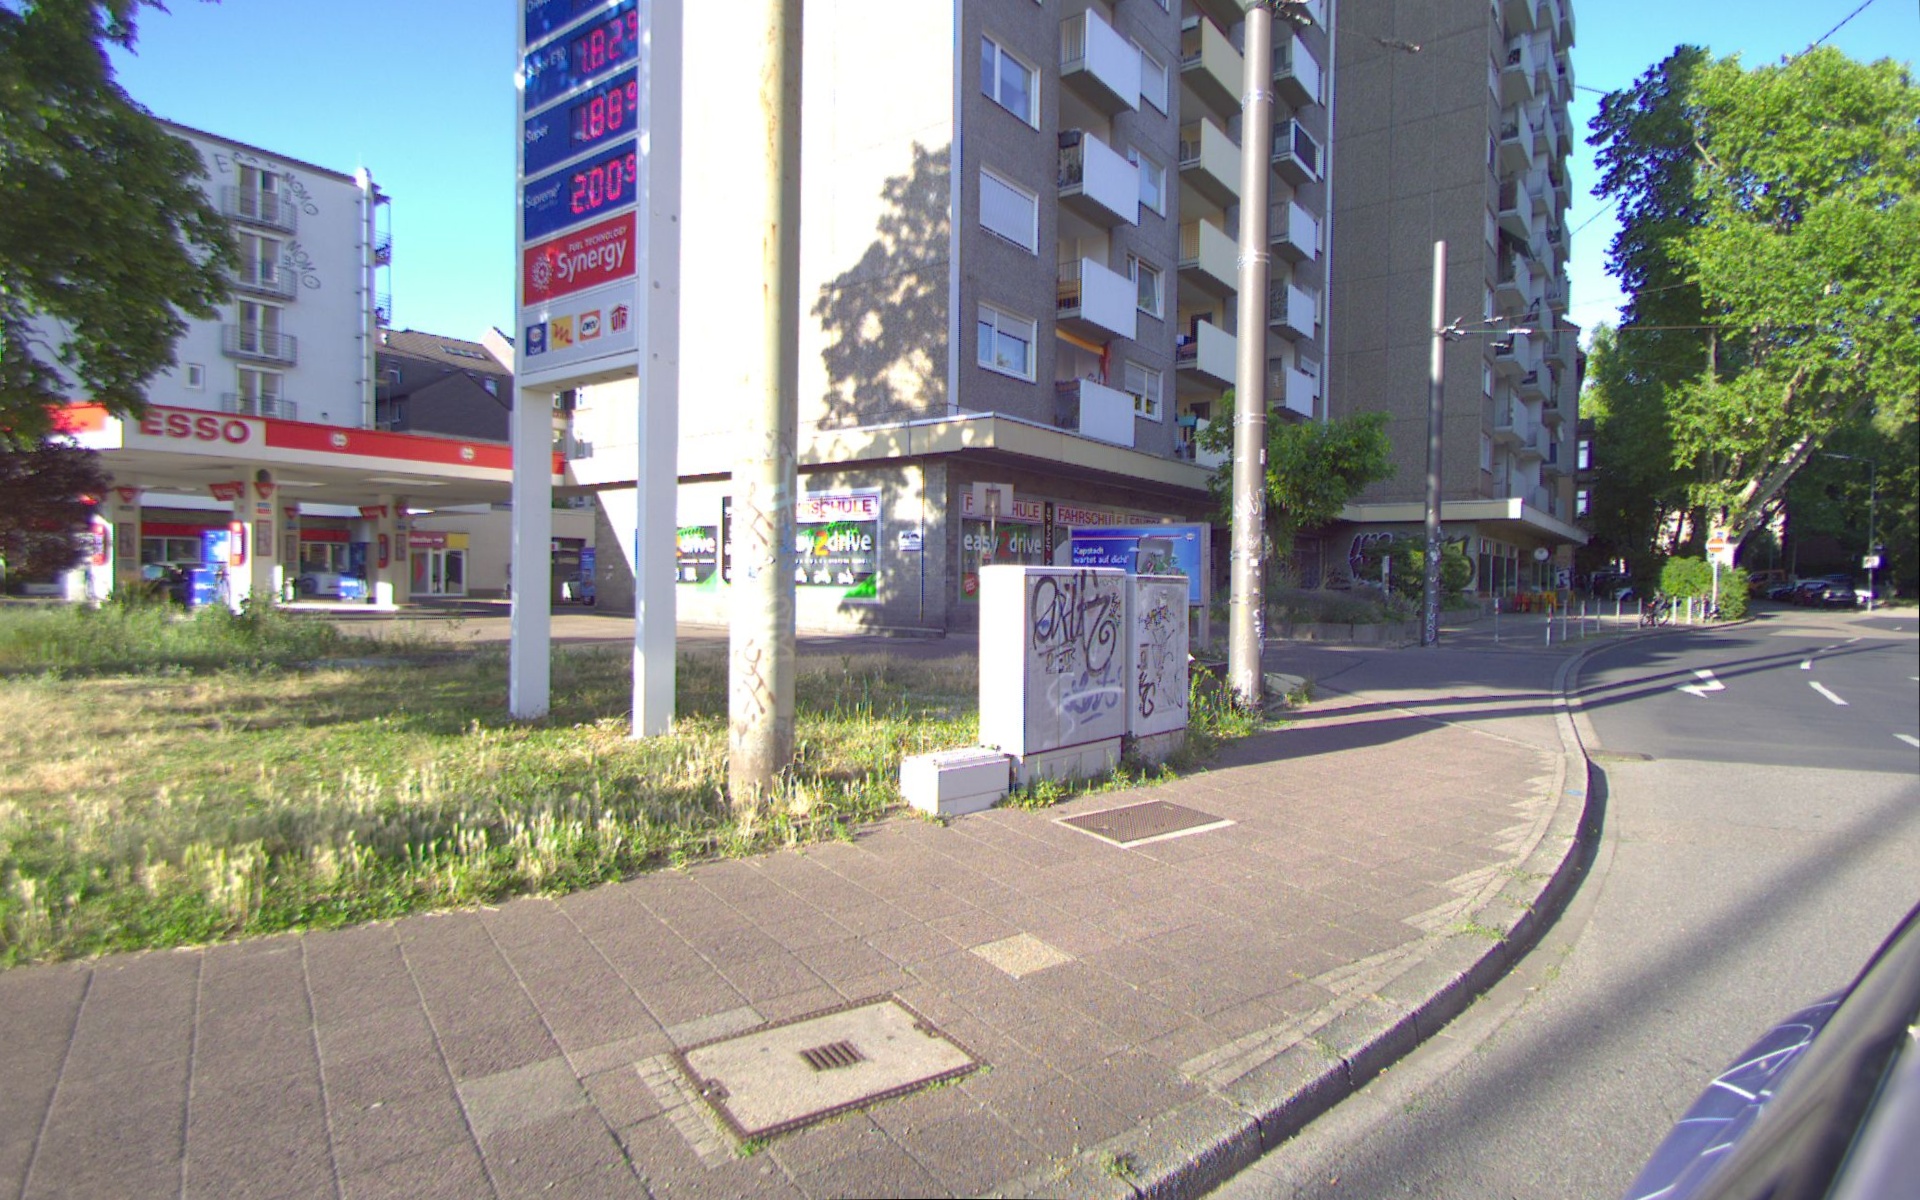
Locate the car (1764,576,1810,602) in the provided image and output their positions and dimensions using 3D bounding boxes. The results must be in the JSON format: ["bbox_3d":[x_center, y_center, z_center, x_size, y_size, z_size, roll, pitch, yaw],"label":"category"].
[{"bbox_3d":[62.438,-0.854,76.472,1.754,1.880,4.190,1,2,27],"label":"car"}]

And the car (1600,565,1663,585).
[{"bbox_3d":[53.667,-2.003,80.967,3.963,1.527,1.868,1,2,28],"label":"car"}]

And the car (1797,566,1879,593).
[{"bbox_3d":[59.044,-1.378,68.131,3.889,1.783,1.521,1,1,27],"label":"car"}]

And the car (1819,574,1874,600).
[{"bbox_3d":[52.552,-0.791,60.043,1.726,1.466,3.594,1,2,29],"label":"car"}]

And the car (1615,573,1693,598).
[{"bbox_3d":[45.298,-0.982,66.135,3.963,1.527,1.868,1,2,28],"label":"car"}]

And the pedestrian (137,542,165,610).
[{"bbox_3d":[-21.008,-0.623,26.268,0.415,1.726,0.418,1,1,22],"label":"pedestrian"}]

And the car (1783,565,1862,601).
[{"bbox_3d":[59.864,-1.216,70.307,3.889,2.435,1.521,1,1,27],"label":"car"}]

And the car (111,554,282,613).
[{"bbox_3d":[-20.884,-0.483,27.696,3.953,1.370,1.986,3,2,22],"label":"car"}]

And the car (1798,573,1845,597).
[{"bbox_3d":[55.212,-0.994,64.918,1.522,1.466,3.887,1,2,29],"label":"car"}]

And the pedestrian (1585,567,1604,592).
[{"bbox_3d":[54.233,-1.756,86.522,1.202,2.039,1.195,1,1,29],"label":"pedestrian"}]

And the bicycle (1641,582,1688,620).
[{"bbox_3d":[22.190,0.005,31.875,2.240,1.148,0.610,-1,2,-39],"label":"bicycle"}]
